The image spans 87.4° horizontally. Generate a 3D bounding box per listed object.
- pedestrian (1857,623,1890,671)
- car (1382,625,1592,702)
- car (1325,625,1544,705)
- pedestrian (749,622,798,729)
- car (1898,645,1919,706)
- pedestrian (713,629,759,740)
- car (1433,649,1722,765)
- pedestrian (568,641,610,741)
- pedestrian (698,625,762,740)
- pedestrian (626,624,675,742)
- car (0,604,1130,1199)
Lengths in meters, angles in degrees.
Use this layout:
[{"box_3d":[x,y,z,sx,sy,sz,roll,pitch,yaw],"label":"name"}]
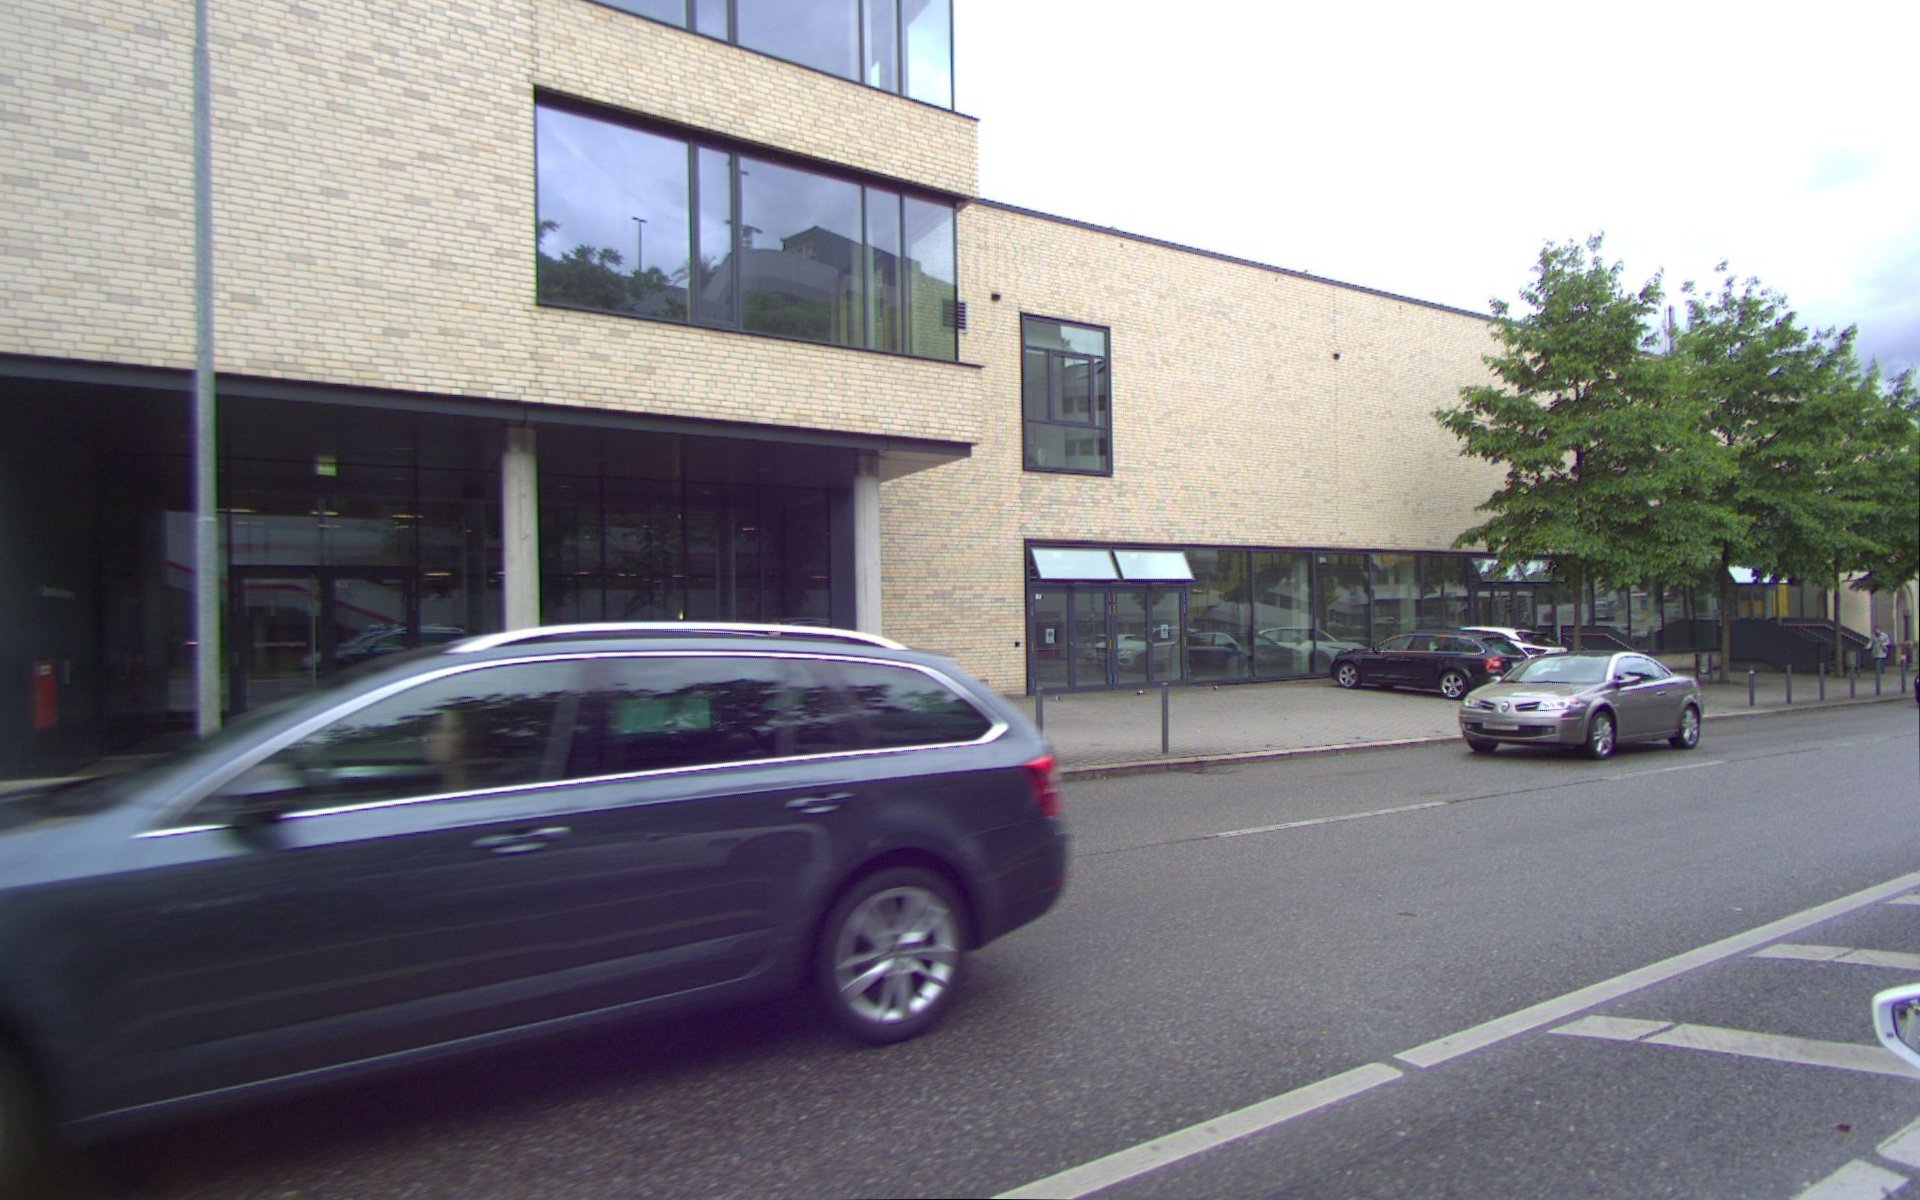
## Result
[{"box_3d":[32.579,1.675,35.816,1.009,1.688,0.638,2,0,-36],"label":"pedestrian"},{"box_3d":[12.779,1.492,24.629,1.975,1.568,4.159,2,0,-28],"label":"car"},{"box_3d":[10.902,1.438,23.323,1.981,1.515,4.147,2,0,-36],"label":"car"},{"box_3d":[-2.687,1.080,14.490,0.523,1.495,0.438,2,0,-35],"label":"pedestrian"},{"box_3d":[24.469,1.793,24.216,3.927,1.430,1.736,1,-4,-32],"label":"car"},{"box_3d":[-3.123,1.158,13.991,0.459,1.495,0.446,2,0,-35],"label":"pedestrian"},{"box_3d":[8.802,1.416,14.245,4.183,1.406,1.820,2,-4,-32],"label":"car"},{"box_3d":[-4.780,1.159,12.931,0.416,1.231,0.546,2,0,-27],"label":"pedestrian"},{"box_3d":[-3.652,1.287,15.973,0.691,1.737,0.636,2,0,24],"label":"pedestrian"},{"box_3d":[-4.063,1.074,13.196,0.459,1.495,0.446,2,0,-35],"label":"pedestrian"},{"box_3d":[-1.558,0.838,3.773,4.242,1.481,1.802,2,-4,-33],"label":"car"}]
